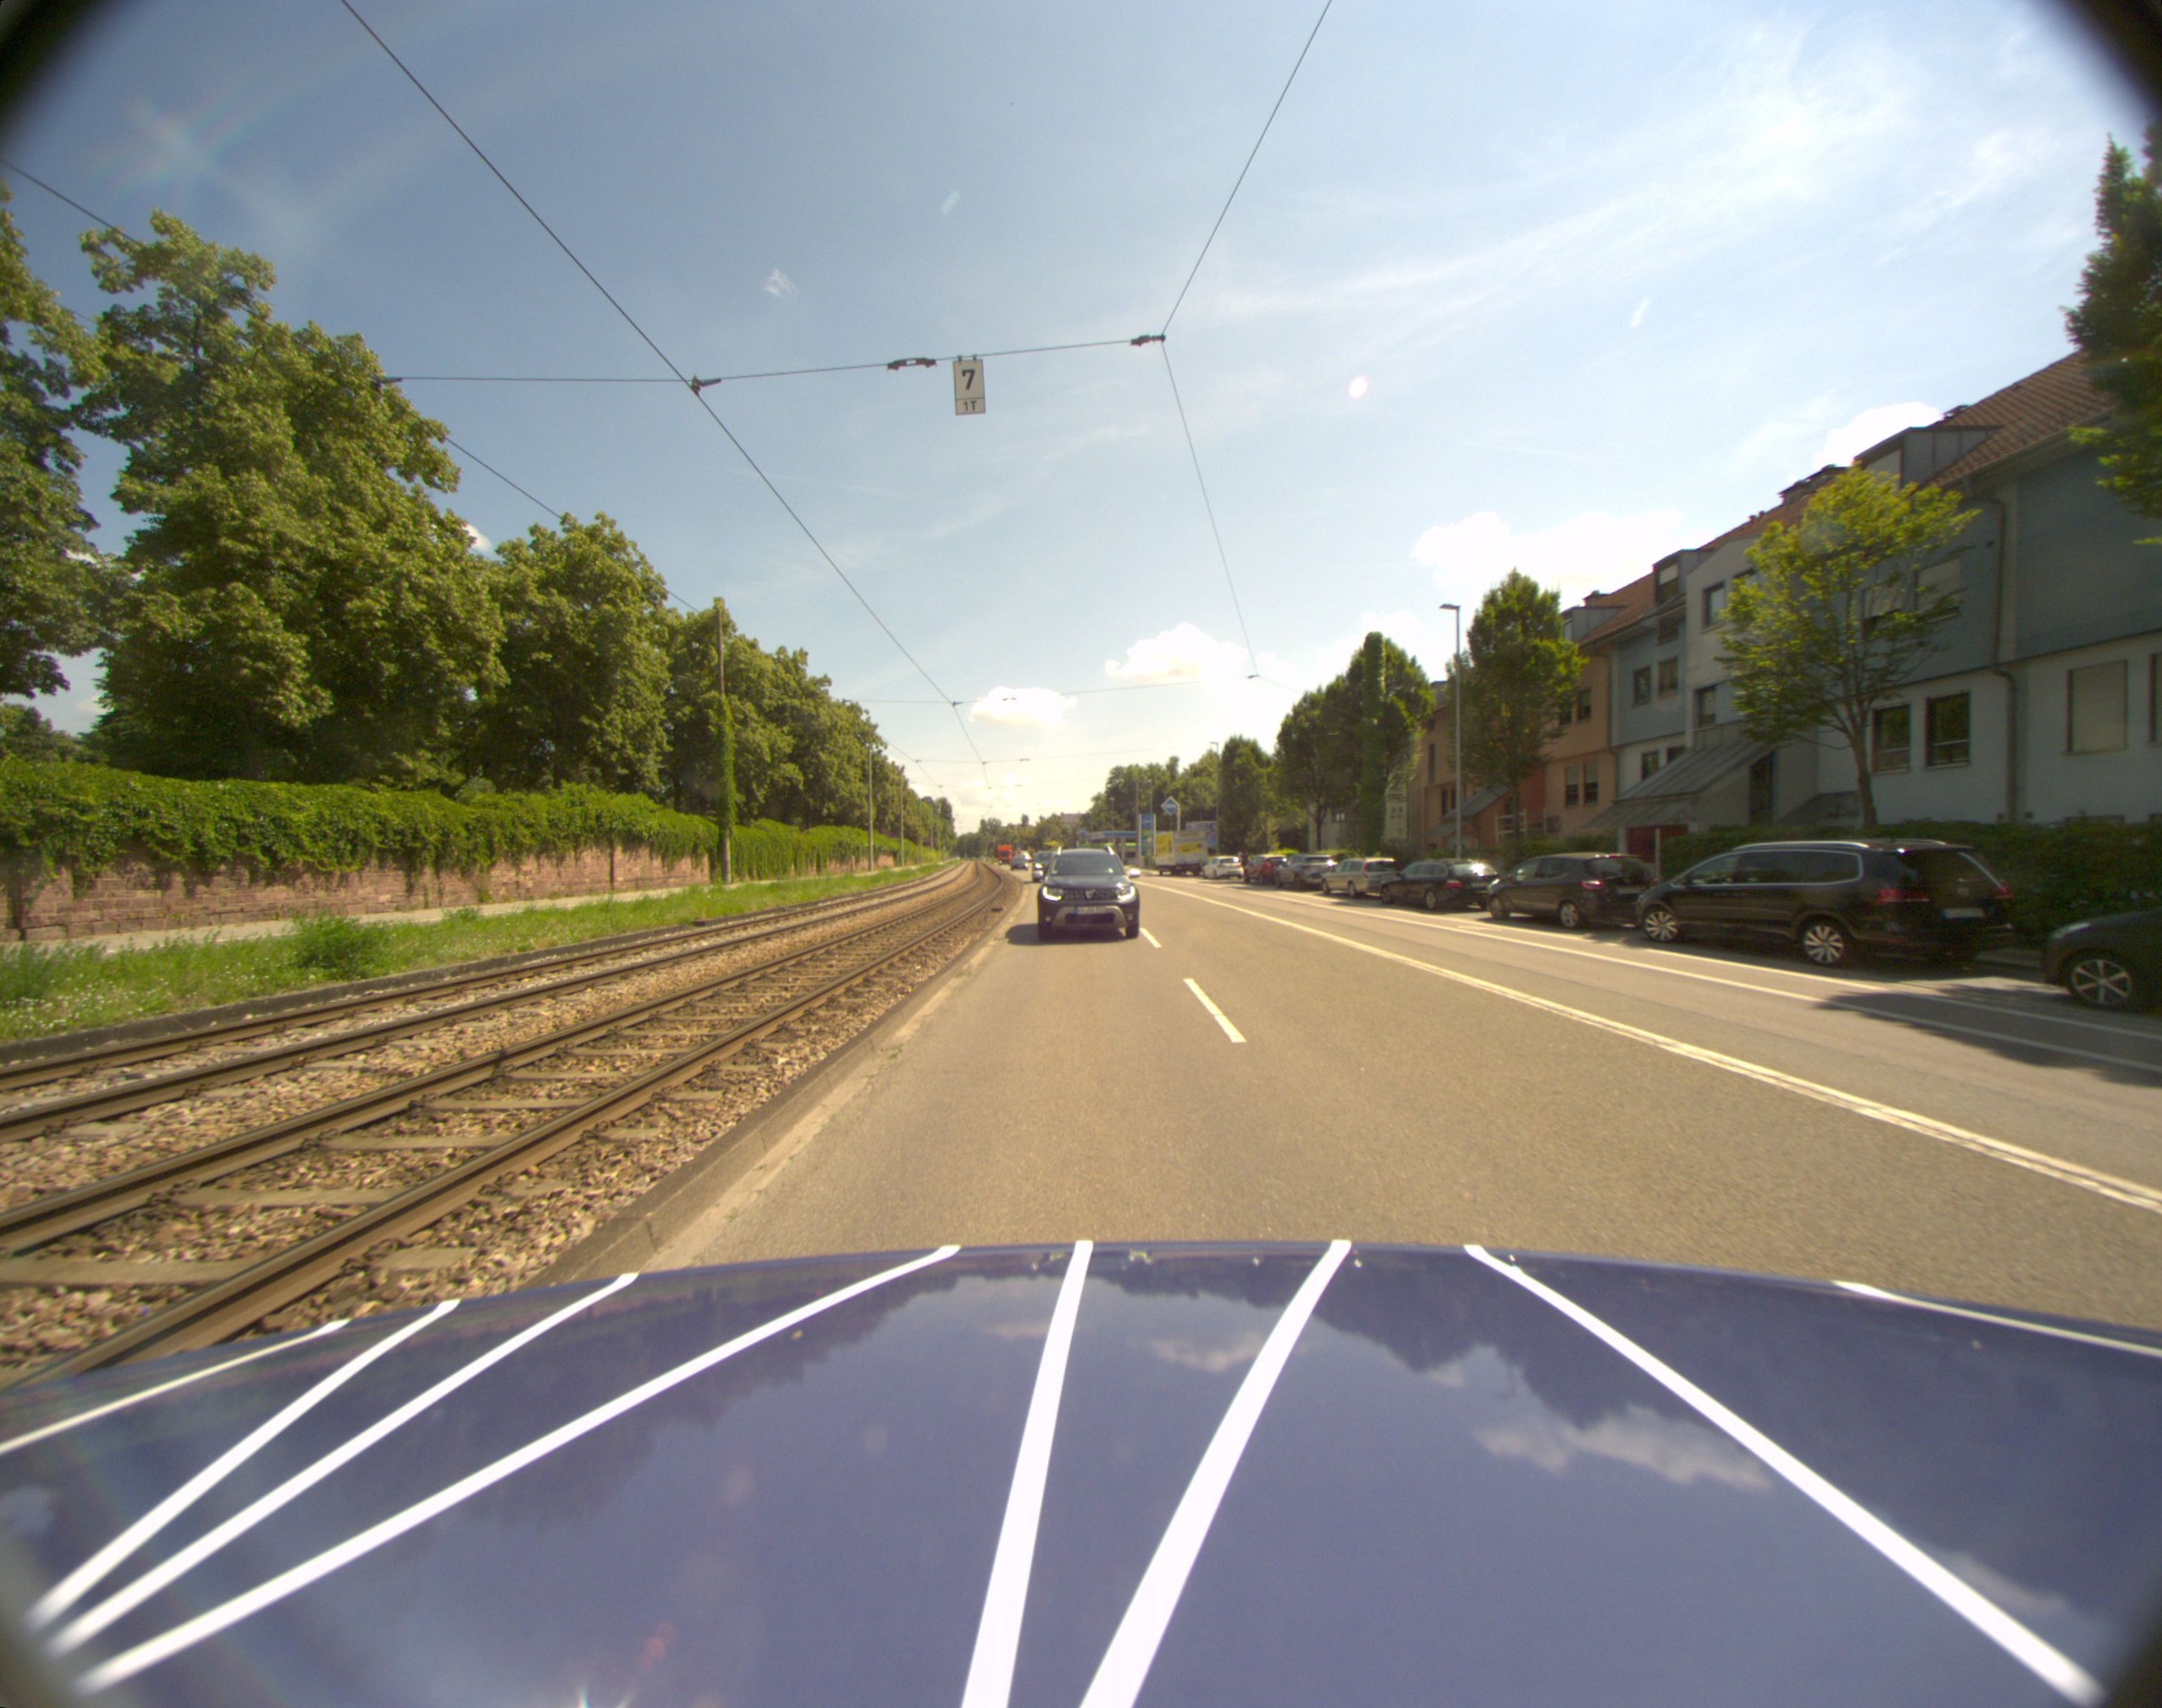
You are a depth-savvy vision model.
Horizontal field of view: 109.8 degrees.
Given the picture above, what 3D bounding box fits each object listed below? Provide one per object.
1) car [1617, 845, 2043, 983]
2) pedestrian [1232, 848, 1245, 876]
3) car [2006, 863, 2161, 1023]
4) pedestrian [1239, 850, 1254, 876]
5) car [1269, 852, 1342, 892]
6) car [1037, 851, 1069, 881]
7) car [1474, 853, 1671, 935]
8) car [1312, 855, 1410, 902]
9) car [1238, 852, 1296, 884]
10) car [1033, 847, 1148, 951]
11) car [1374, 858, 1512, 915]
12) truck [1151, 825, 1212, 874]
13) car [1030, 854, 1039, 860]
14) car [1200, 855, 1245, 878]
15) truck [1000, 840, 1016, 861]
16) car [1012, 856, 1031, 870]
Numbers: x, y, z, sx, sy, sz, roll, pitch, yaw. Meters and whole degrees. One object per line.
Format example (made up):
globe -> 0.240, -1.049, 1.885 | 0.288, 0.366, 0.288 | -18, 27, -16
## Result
car -> 10.959, 0.742, 11.810 | 1.755, 1.706, 4.887 | 0, 0, -1
pedestrian -> 10.830, 0.557, 52.252 | 0.642, 1.911, 0.710 | 0, 1, 37
car -> 10.980, 0.876, 6.287 | 1.602, 1.463, 4.086 | 0, 1, -1
pedestrian -> 11.227, 0.617, 51.517 | 0.685, 1.784, 0.702 | 0, 1, -33
car -> 10.188, 0.771, 34.849 | 1.660, 1.600, 4.686 | -3, 0, -3
car -> -1.629, 0.694, 44.838 | 1.802, 1.683, 4.143 | 0, 0, -2
car -> 10.952, 0.807, 17.360 | 1.660, 1.608, 4.284 | 0, 1, -1
car -> 10.681, 0.871, 29.365 | 1.660, 1.499, 4.893 | -2, 1, -4
car -> 9.903, 0.709, 40.746 | 1.660, 1.600, 4.171 | -1, 0, -6
car -> 0.015, 0.734, 14.893 | 1.802, 1.652, 4.785 | -2, 0, -4
car -> 10.804, 0.899, 23.138 | 1.746, 1.438, 4.823 | -2, 0, -2
truck -> 7.934, -0.343, 61.002 | 2.840, 3.528, 8.165 | -3, 0, -6
car -> -10.807, 0.758, 177.718 | 1.999, 1.379, 3.998 | 0, 0, -5
car -> 9.085, 0.794, 49.018 | 1.661, 1.402, 4.394 | 0, 0, -6
truck -> -13.244, -0.665, 137.478 | 2.847, 3.574, 8.700 | -1, 1, -6
car -> -6.331, 0.989, 81.246 | 1.999, 1.346, 3.998 | 2, 0, -4
